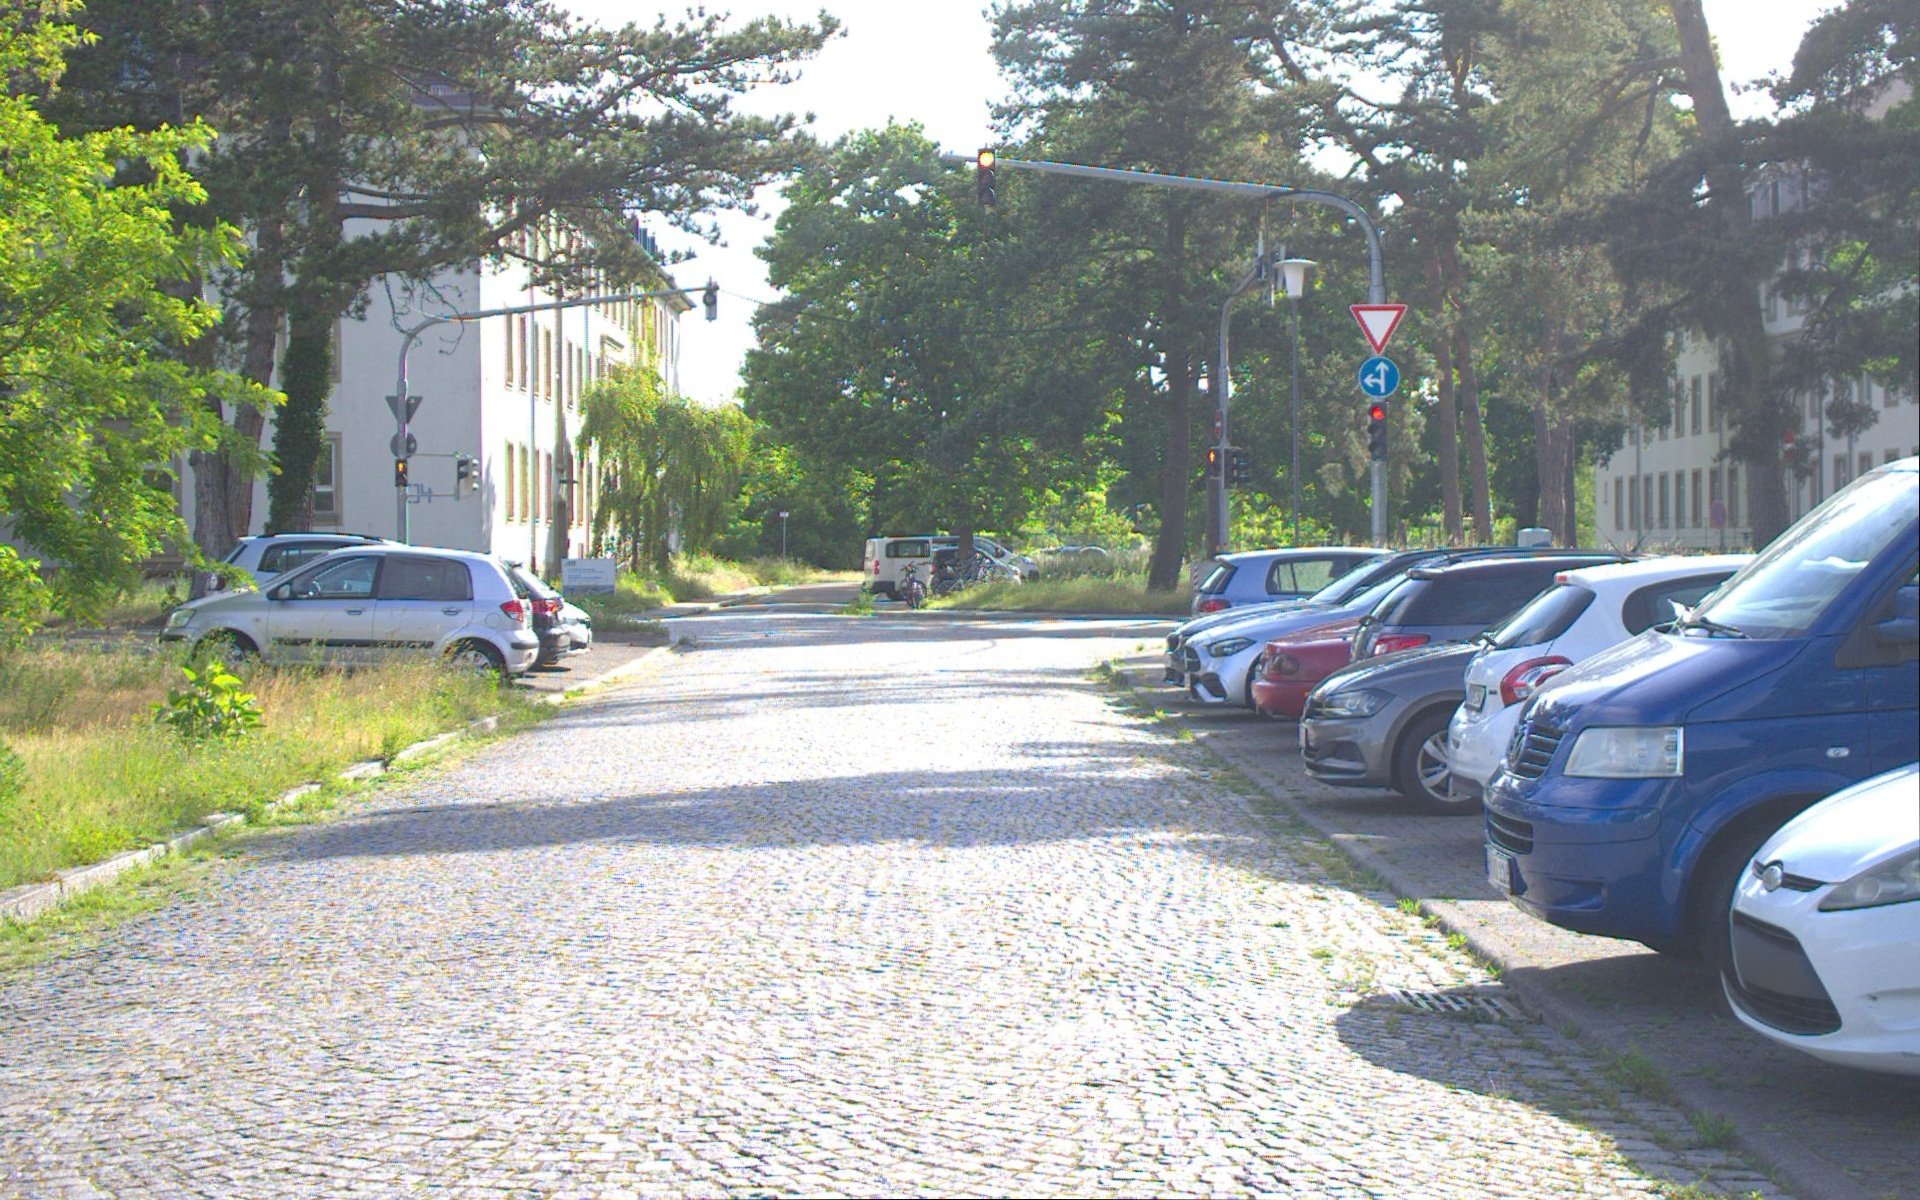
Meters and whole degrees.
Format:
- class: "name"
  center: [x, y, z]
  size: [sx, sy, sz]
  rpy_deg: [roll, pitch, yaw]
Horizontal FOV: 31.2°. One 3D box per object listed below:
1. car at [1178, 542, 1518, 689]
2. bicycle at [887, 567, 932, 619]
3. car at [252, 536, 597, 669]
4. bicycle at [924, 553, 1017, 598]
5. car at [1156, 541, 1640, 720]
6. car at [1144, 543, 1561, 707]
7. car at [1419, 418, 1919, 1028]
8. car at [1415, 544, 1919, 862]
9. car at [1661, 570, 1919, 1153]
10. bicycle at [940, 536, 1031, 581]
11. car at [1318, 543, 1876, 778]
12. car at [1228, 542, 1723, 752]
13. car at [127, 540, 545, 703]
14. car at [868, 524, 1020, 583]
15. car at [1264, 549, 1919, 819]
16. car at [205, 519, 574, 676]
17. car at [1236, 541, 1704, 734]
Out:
- class: "car"
  center: [4.042, 0.146, 36.129]
  size: [3.343, 1.477, 1.646]
  rpy_deg: [0, 1, -2]
- class: "bicycle"
  center: [-1.202, -0.166, 81.647]
  size: [0.804, 1.165, 2.181]
  rpy_deg: [-2, 1, -7]
- class: "car"
  center: [-6.659, 0.012, 43.101]
  size: [3.987, 1.448, 2.000]
  rpy_deg: [3, 1, -1]
- class: "bicycle"
  center: [0.252, -0.599, 85.107]
  size: [2.172, 1.096, 0.807]
  rpy_deg: [0, 1, -10]
- class: "car"
  center: [3.865, 0.248, 30.717]
  size: [4.033, 1.524, 1.646]
  rpy_deg: [0, 1, -4]
- class: "car"
  center: [3.775, 0.220, 33.489]
  size: [3.835, 1.524, 1.646]
  rpy_deg: [0, 1, -2]
- class: "car"
  center: [4.191, 0.372, 12.501]
  size: [4.676, 2.007, 2.084]
  rpy_deg: [0, 1, -3]
- class: "car"
  center: [4.318, 0.474, 17.682]
  size: [3.694, 1.461, 1.645]
  rpy_deg: [-2, 1, 0]
- class: "car"
  center: [4.061, 0.645, 9.826]
  size: [3.718, 1.483, 1.646]
  rpy_deg: [-1, 1, -3]
- class: "bicycle"
  center: [0.634, -1.044, 86.249]
  size: [2.172, 1.096, 0.807]
  rpy_deg: [0, 1, -10]
- class: "car"
  center: [4.290, 0.383, 23.488]
  size: [3.478, 1.524, 1.646]
  rpy_deg: [0, 1, -2]
- class: "car"
  center: [3.871, 0.333, 26.178]
  size: [3.478, 1.524, 1.646]
  rpy_deg: [0, 1, -2]
- class: "car"
  center: [-6.341, 0.196, 35.313]
  size: [3.986, 1.595, 2.000]
  rpy_deg: [0, 1, -3]
- class: "car"
  center: [-0.488, -1.393, 102.568]
  size: [4.480, 1.722, 2.000]
  rpy_deg: [0, 1, -1]
- class: "car"
  center: [3.761, 0.471, 20.568]
  size: [3.675, 1.462, 1.645]
  rpy_deg: [-1, 1, -2]
- class: "car"
  center: [-6.697, -0.045, 40.699]
  size: [3.987, 1.596, 2.000]
  rpy_deg: [3, 1, -1]
- class: "car"
  center: [4.183, 0.288, 28.536]
  size: [3.602, 1.524, 1.646]
  rpy_deg: [0, 1, -2]
